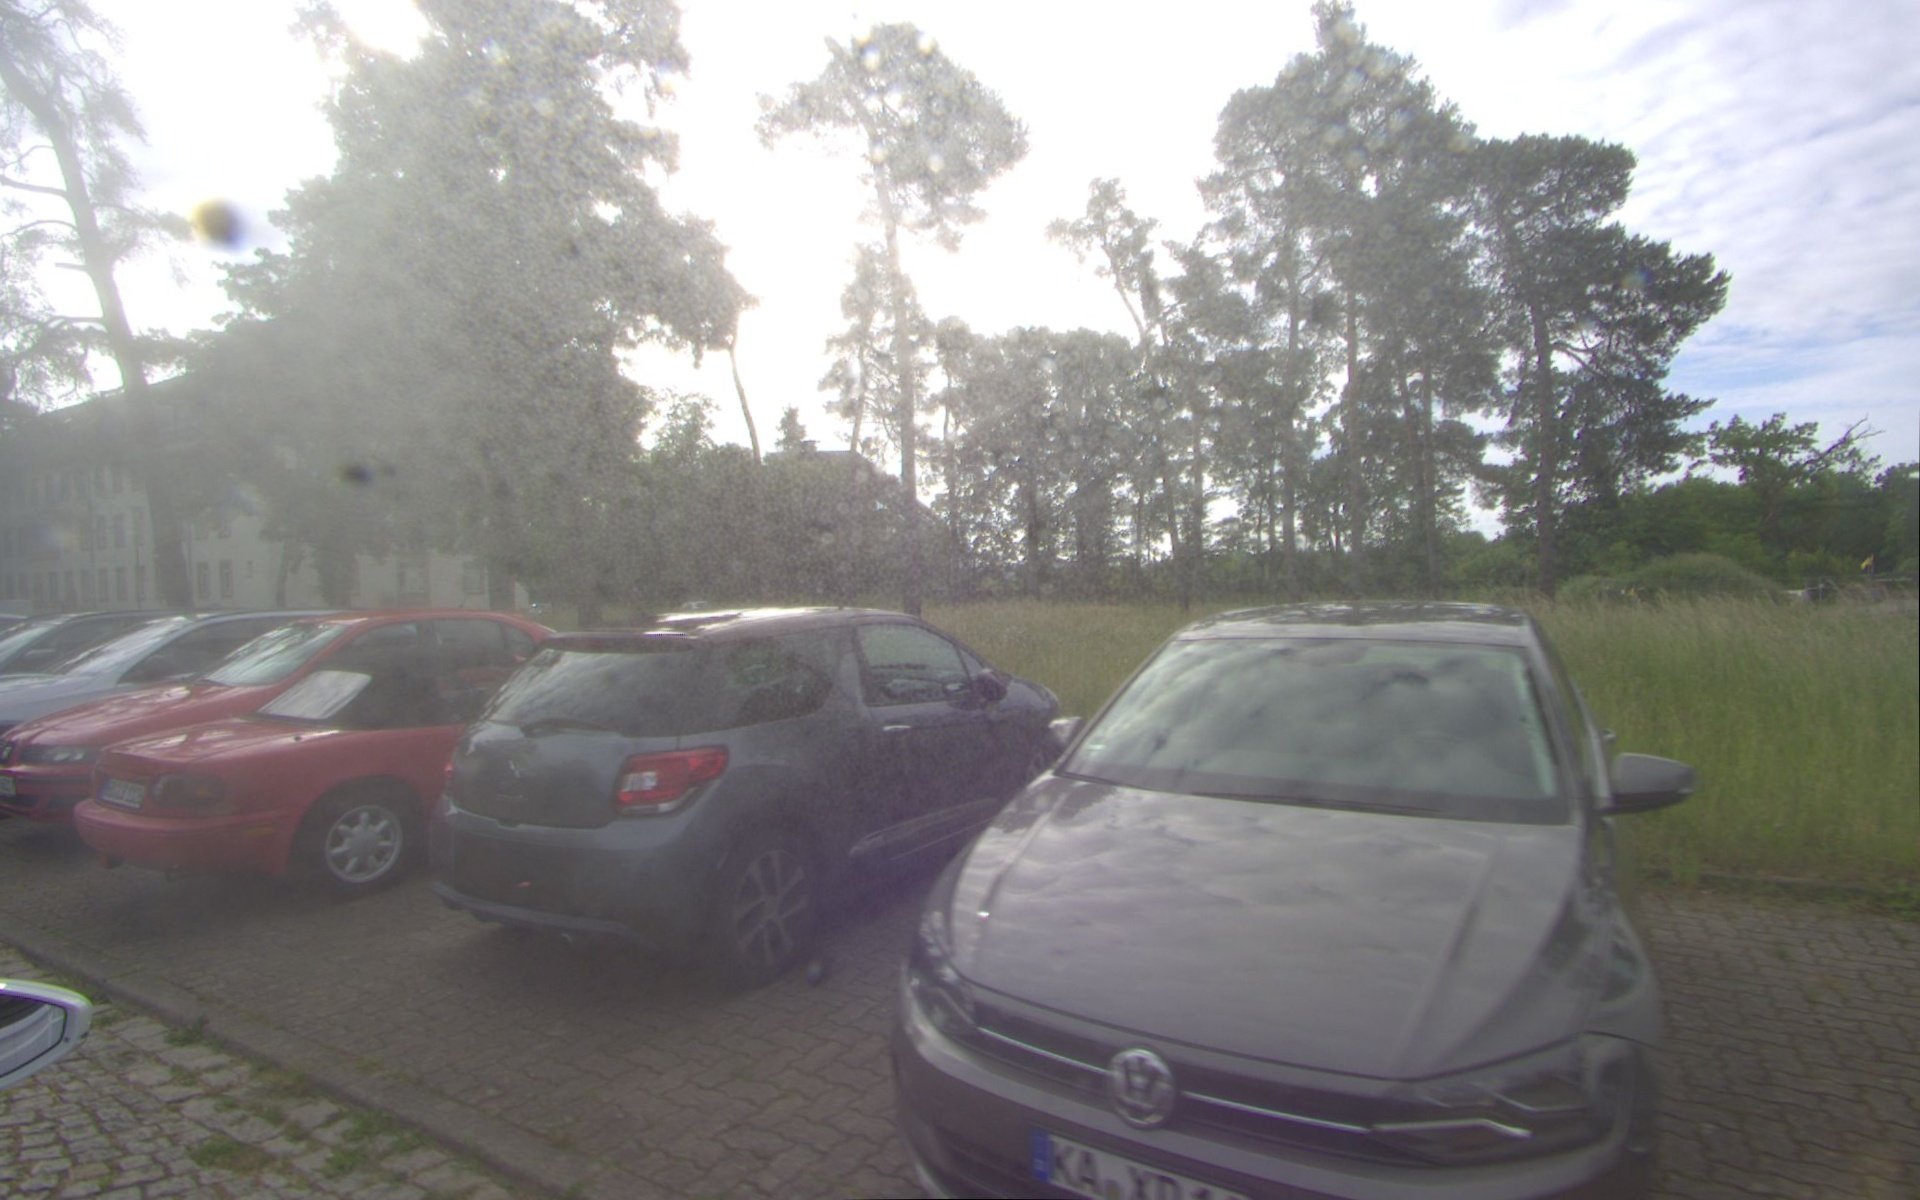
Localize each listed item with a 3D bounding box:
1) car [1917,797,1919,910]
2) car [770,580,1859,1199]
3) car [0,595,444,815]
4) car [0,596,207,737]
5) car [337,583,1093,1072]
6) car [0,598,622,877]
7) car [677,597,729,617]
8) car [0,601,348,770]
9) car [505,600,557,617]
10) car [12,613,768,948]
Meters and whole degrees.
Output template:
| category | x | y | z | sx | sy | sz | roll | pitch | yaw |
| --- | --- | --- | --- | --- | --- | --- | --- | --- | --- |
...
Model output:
| category | x | y | z | sx | sy | sz | roll | pitch | yaw |
| --- | --- | --- | --- | --- | --- | --- | --- | --- | --- |
| car | 4.018 | 0.717 | 2.370 | 1.733 | 1.492 | 3.852 | 0 | 3 | 32 |
| car | 1.332 | 0.742 | 3.350 | 1.732 | 1.492 | 3.854 | 0 | 2 | 31 |
| car | -7.173 | 0.768 | 8.905 | 1.839 | 1.436 | 4.422 | -1 | 2 | 22 |
| car | -11.434 | 0.786 | 11.647 | 1.619 | 1.498 | 3.916 | 0 | 3 | 32 |
| car | -0.826 | 0.724 | 5.355 | 1.731 | 1.492 | 3.855 | 0 | 2 | 29 |
| car | -5.072 | 0.798 | 8.069 | 1.843 | 1.436 | 4.253 | 0 | 2 | 30 |
| car | -20.219 | 0.569 | 78.907 | 1.627 | 1.439 | 3.940 | 0 | -2 | 33 |
| car | -9.327 | 0.830 | 10.464 | 1.842 | 1.436 | 4.673 | 0 | 2 | 28 |
| car | -37.879 | 0.760 | 88.499 | 1.627 | 1.439 | 3.940 | 0 | -2 | 33 |
| car | -3.189 | 0.814 | 6.445 | 1.731 | 1.253 | 3.855 | 0 | 2 | 29 |
